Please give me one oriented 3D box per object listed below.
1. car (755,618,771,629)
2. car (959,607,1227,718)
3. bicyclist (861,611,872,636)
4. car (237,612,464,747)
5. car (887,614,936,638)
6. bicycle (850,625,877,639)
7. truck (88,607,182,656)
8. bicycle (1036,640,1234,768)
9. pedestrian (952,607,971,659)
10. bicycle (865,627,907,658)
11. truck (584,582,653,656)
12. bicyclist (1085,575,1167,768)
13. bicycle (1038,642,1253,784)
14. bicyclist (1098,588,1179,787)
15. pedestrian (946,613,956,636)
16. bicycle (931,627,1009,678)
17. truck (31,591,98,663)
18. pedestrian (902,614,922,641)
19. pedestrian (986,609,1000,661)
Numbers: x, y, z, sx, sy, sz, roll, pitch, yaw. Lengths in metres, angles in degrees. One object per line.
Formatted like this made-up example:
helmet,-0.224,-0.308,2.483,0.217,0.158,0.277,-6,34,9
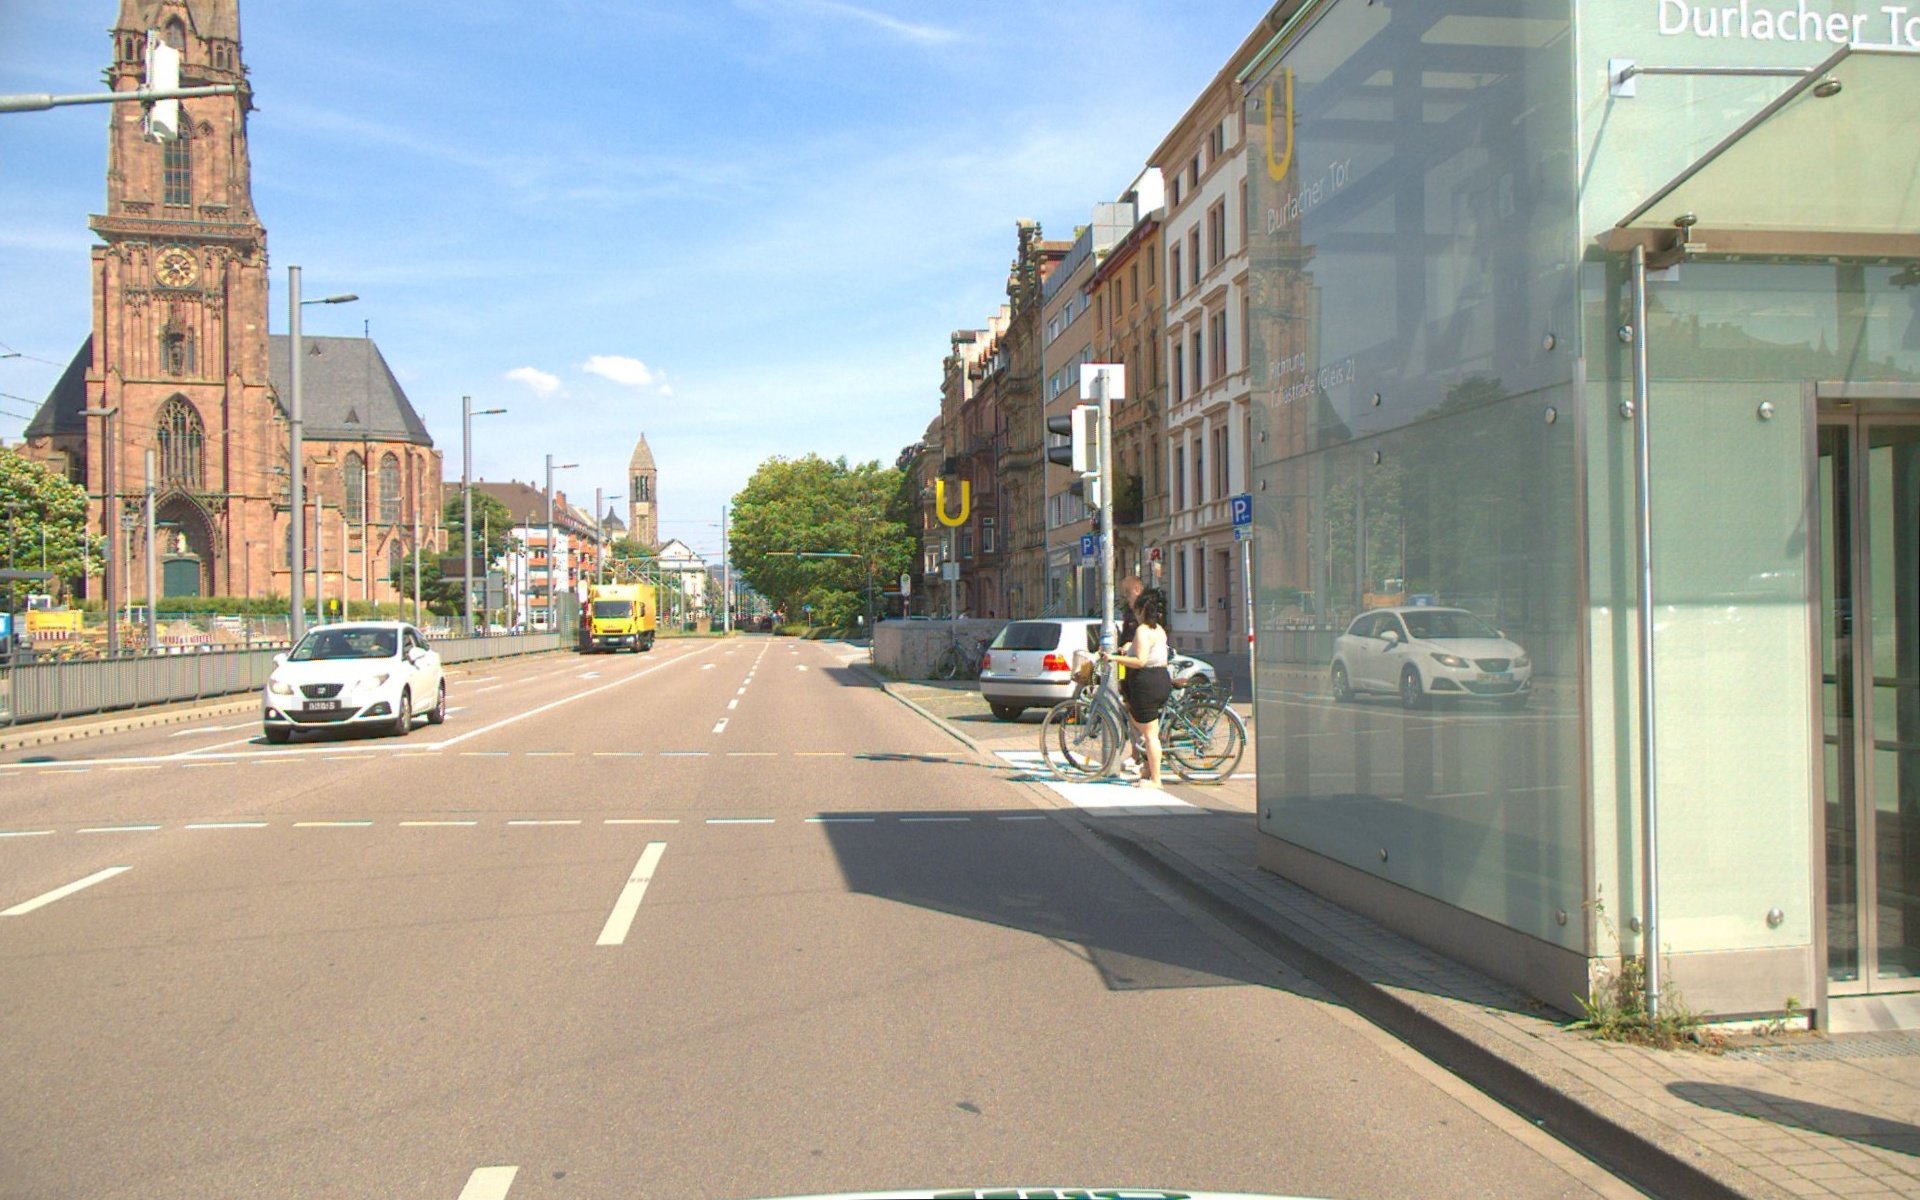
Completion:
car,-25.660,3.105,215.487,1.864,1.400,3.807,-1,-1,-9
car,1.999,0.888,24.031,1.783,1.465,3.972,0,-2,44
bicyclist,-6.211,1.538,109.742,0.630,1.619,0.480,0,1,-22
car,-7.757,0.940,21.446,1.721,1.422,4.119,-4,0,-7
car,-4.031,2.138,137.209,3.909,1.780,1.998,-1,2,-5
bicycle,-6.398,2.130,109.679,1.793,0.878,0.480,-1,1,-22
truck,-48.817,1.850,97.908,4.310,2.725,2.384,-1,-1,-2
bicycle,1.642,0.962,15.592,1.760,1.150,0.582,0,-1,-13
pedestrian,0.059,1.083,54.277,0.542,1.695,0.524,-1,-1,-7
bicycle,-2.563,1.465,57.107,1.433,0.993,0.415,-1,2,-7
truck,-17.035,0.955,82.964,2.495,3.356,9.014,-3,0,-7
bicyclist,1.543,0.654,15.447,0.605,1.765,0.582,0,-1,-13
bicycle,1.586,0.942,14.060,1.752,1.150,0.755,-1,-1,11
bicyclist,1.496,0.713,13.778,0.598,1.600,0.734,-1,-1,11
pedestrian,-0.587,1.612,108.227,0.523,1.431,0.489,-1,2,-13
bicycle,0.217,1.188,37.690,1.709,1.113,0.596,-1,0,-7
truck,-47.145,1.419,87.131,2.986,3.631,5.985,-1,-1,-29
pedestrian,-2.459,1.428,84.954,0.929,1.348,0.821,-1,-1,-9
pedestrian,1.078,1.140,54.234,0.364,1.695,0.524,-1,-1,-6
